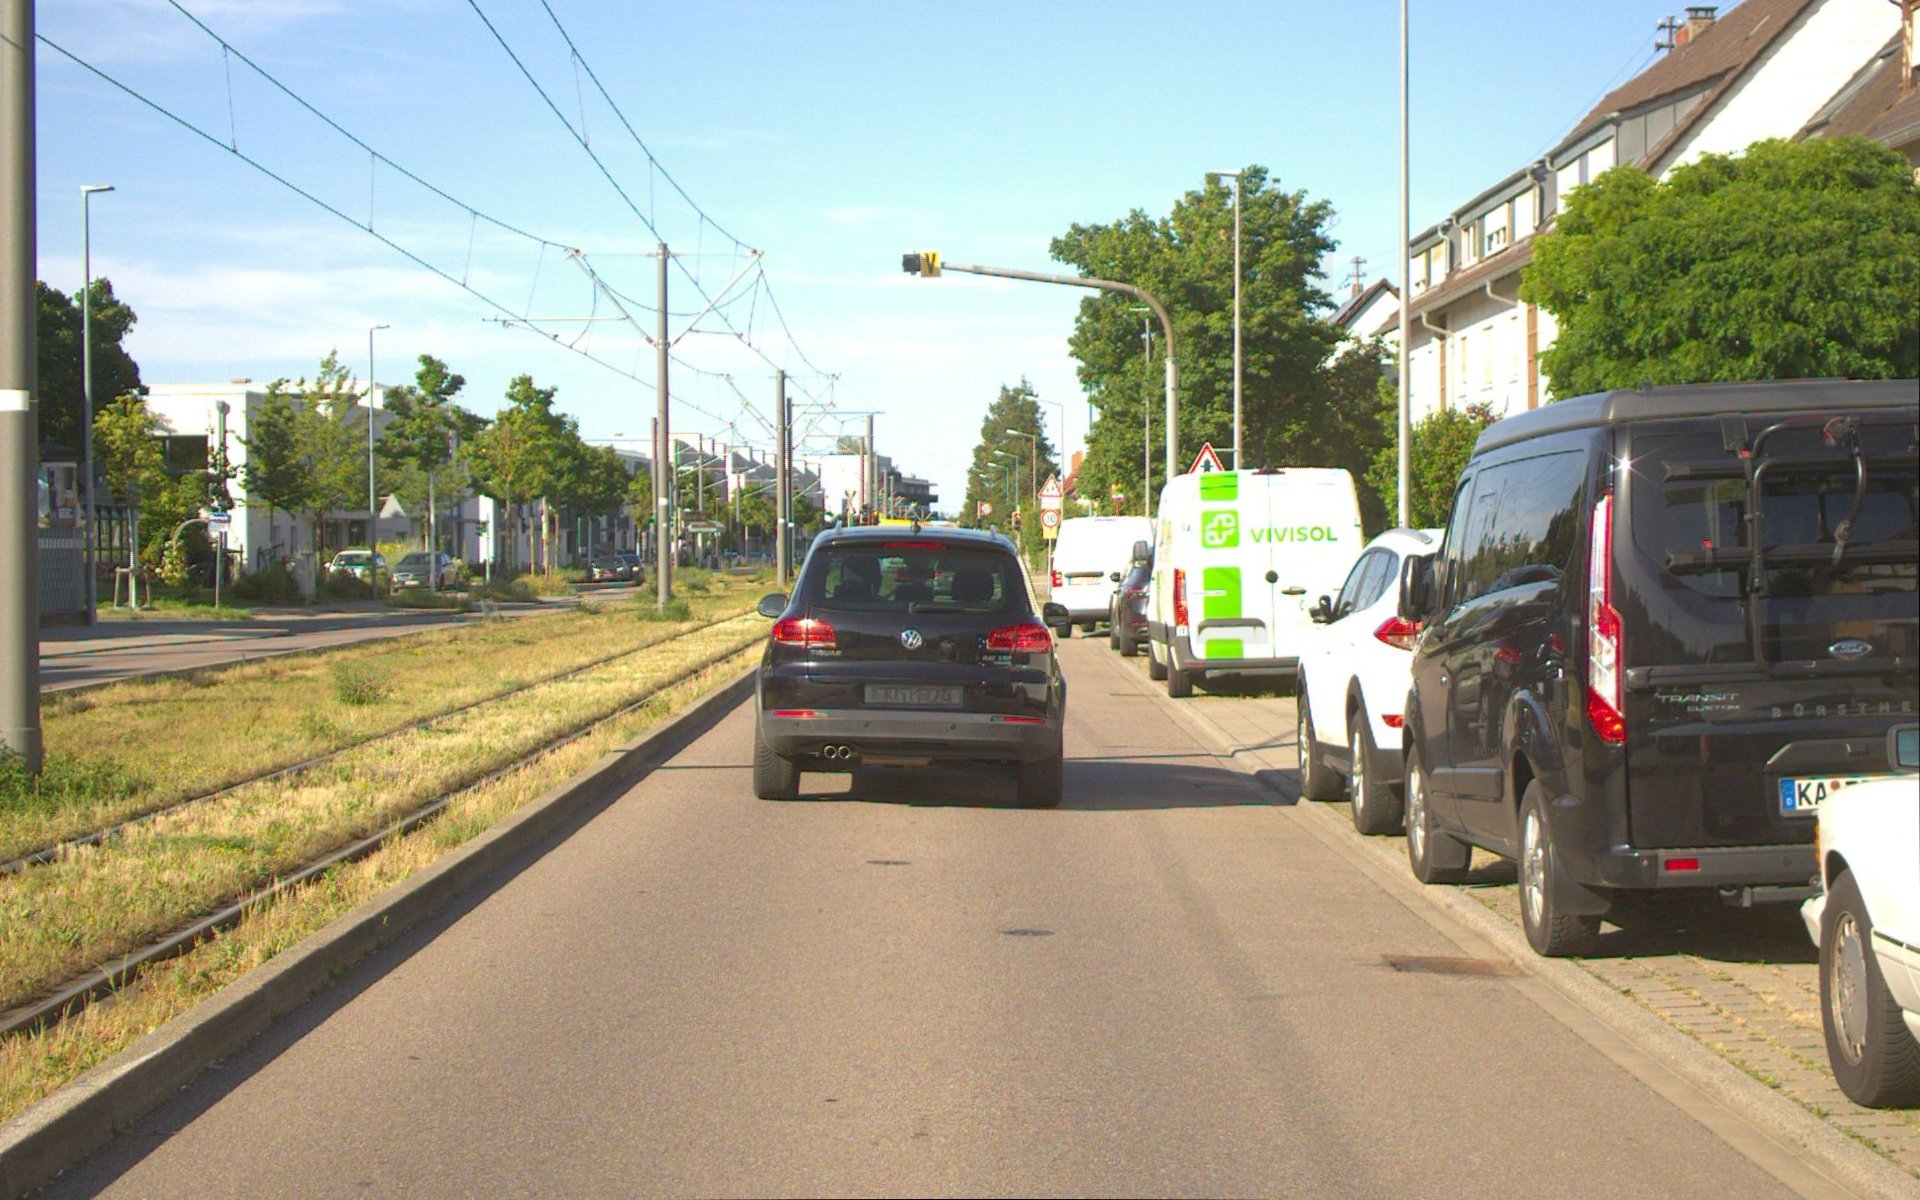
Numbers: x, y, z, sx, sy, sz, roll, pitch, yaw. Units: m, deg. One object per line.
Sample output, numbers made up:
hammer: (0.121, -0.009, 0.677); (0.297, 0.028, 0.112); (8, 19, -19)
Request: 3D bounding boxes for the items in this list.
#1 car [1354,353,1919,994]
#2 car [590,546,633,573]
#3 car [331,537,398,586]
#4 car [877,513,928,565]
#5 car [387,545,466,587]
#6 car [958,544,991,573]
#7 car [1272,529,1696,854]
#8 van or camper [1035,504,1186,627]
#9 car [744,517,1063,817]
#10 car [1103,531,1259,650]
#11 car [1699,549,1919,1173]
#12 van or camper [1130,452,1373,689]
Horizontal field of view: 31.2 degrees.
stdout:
car: (2.965, 0.198, 14.265); (1.959, 2.137, 5.336); (-1, 1, 0)
car: (-18.689, -2.181, 184.383); (1.688, 1.384, 4.388); (-2, 1, 1)
car: (-19.030, -1.239, 109.951); (1.544, 1.486, 3.775); (1, 1, -1)
car: (-2.839, -3.019, 171.328); (2.394, 2.556, 5.530); (0, 1, 0)
car: (-19.039, -1.216, 122.871); (1.811, 1.456, 4.317); (1, 1, 4)
car: (0.823, -2.438, 200.693); (1.775, 1.664, 4.000); (0, 1, -2)
car: (2.898, 0.436, 19.882); (1.725, 1.640, 4.319); (-1, 1, 0)
van or camper: (2.569, -0.609, 57.474); (2.028, 1.949, 5.293); (0, 1, 8)
car: (-0.392, 0.354, 21.494); (1.775, 1.664, 4.000); (1, 1, -2)
car: (2.972, -0.157, 47.125); (1.748, 1.489, 5.155); (-2, 1, 0)
car: (3.173, 0.618, 7.702); (1.852, 1.439, 5.613); (-2, 1, 1)
van or camper: (3.011, -0.331, 36.791); (1.993, 2.263, 6.305); (-2, 1, 0)
